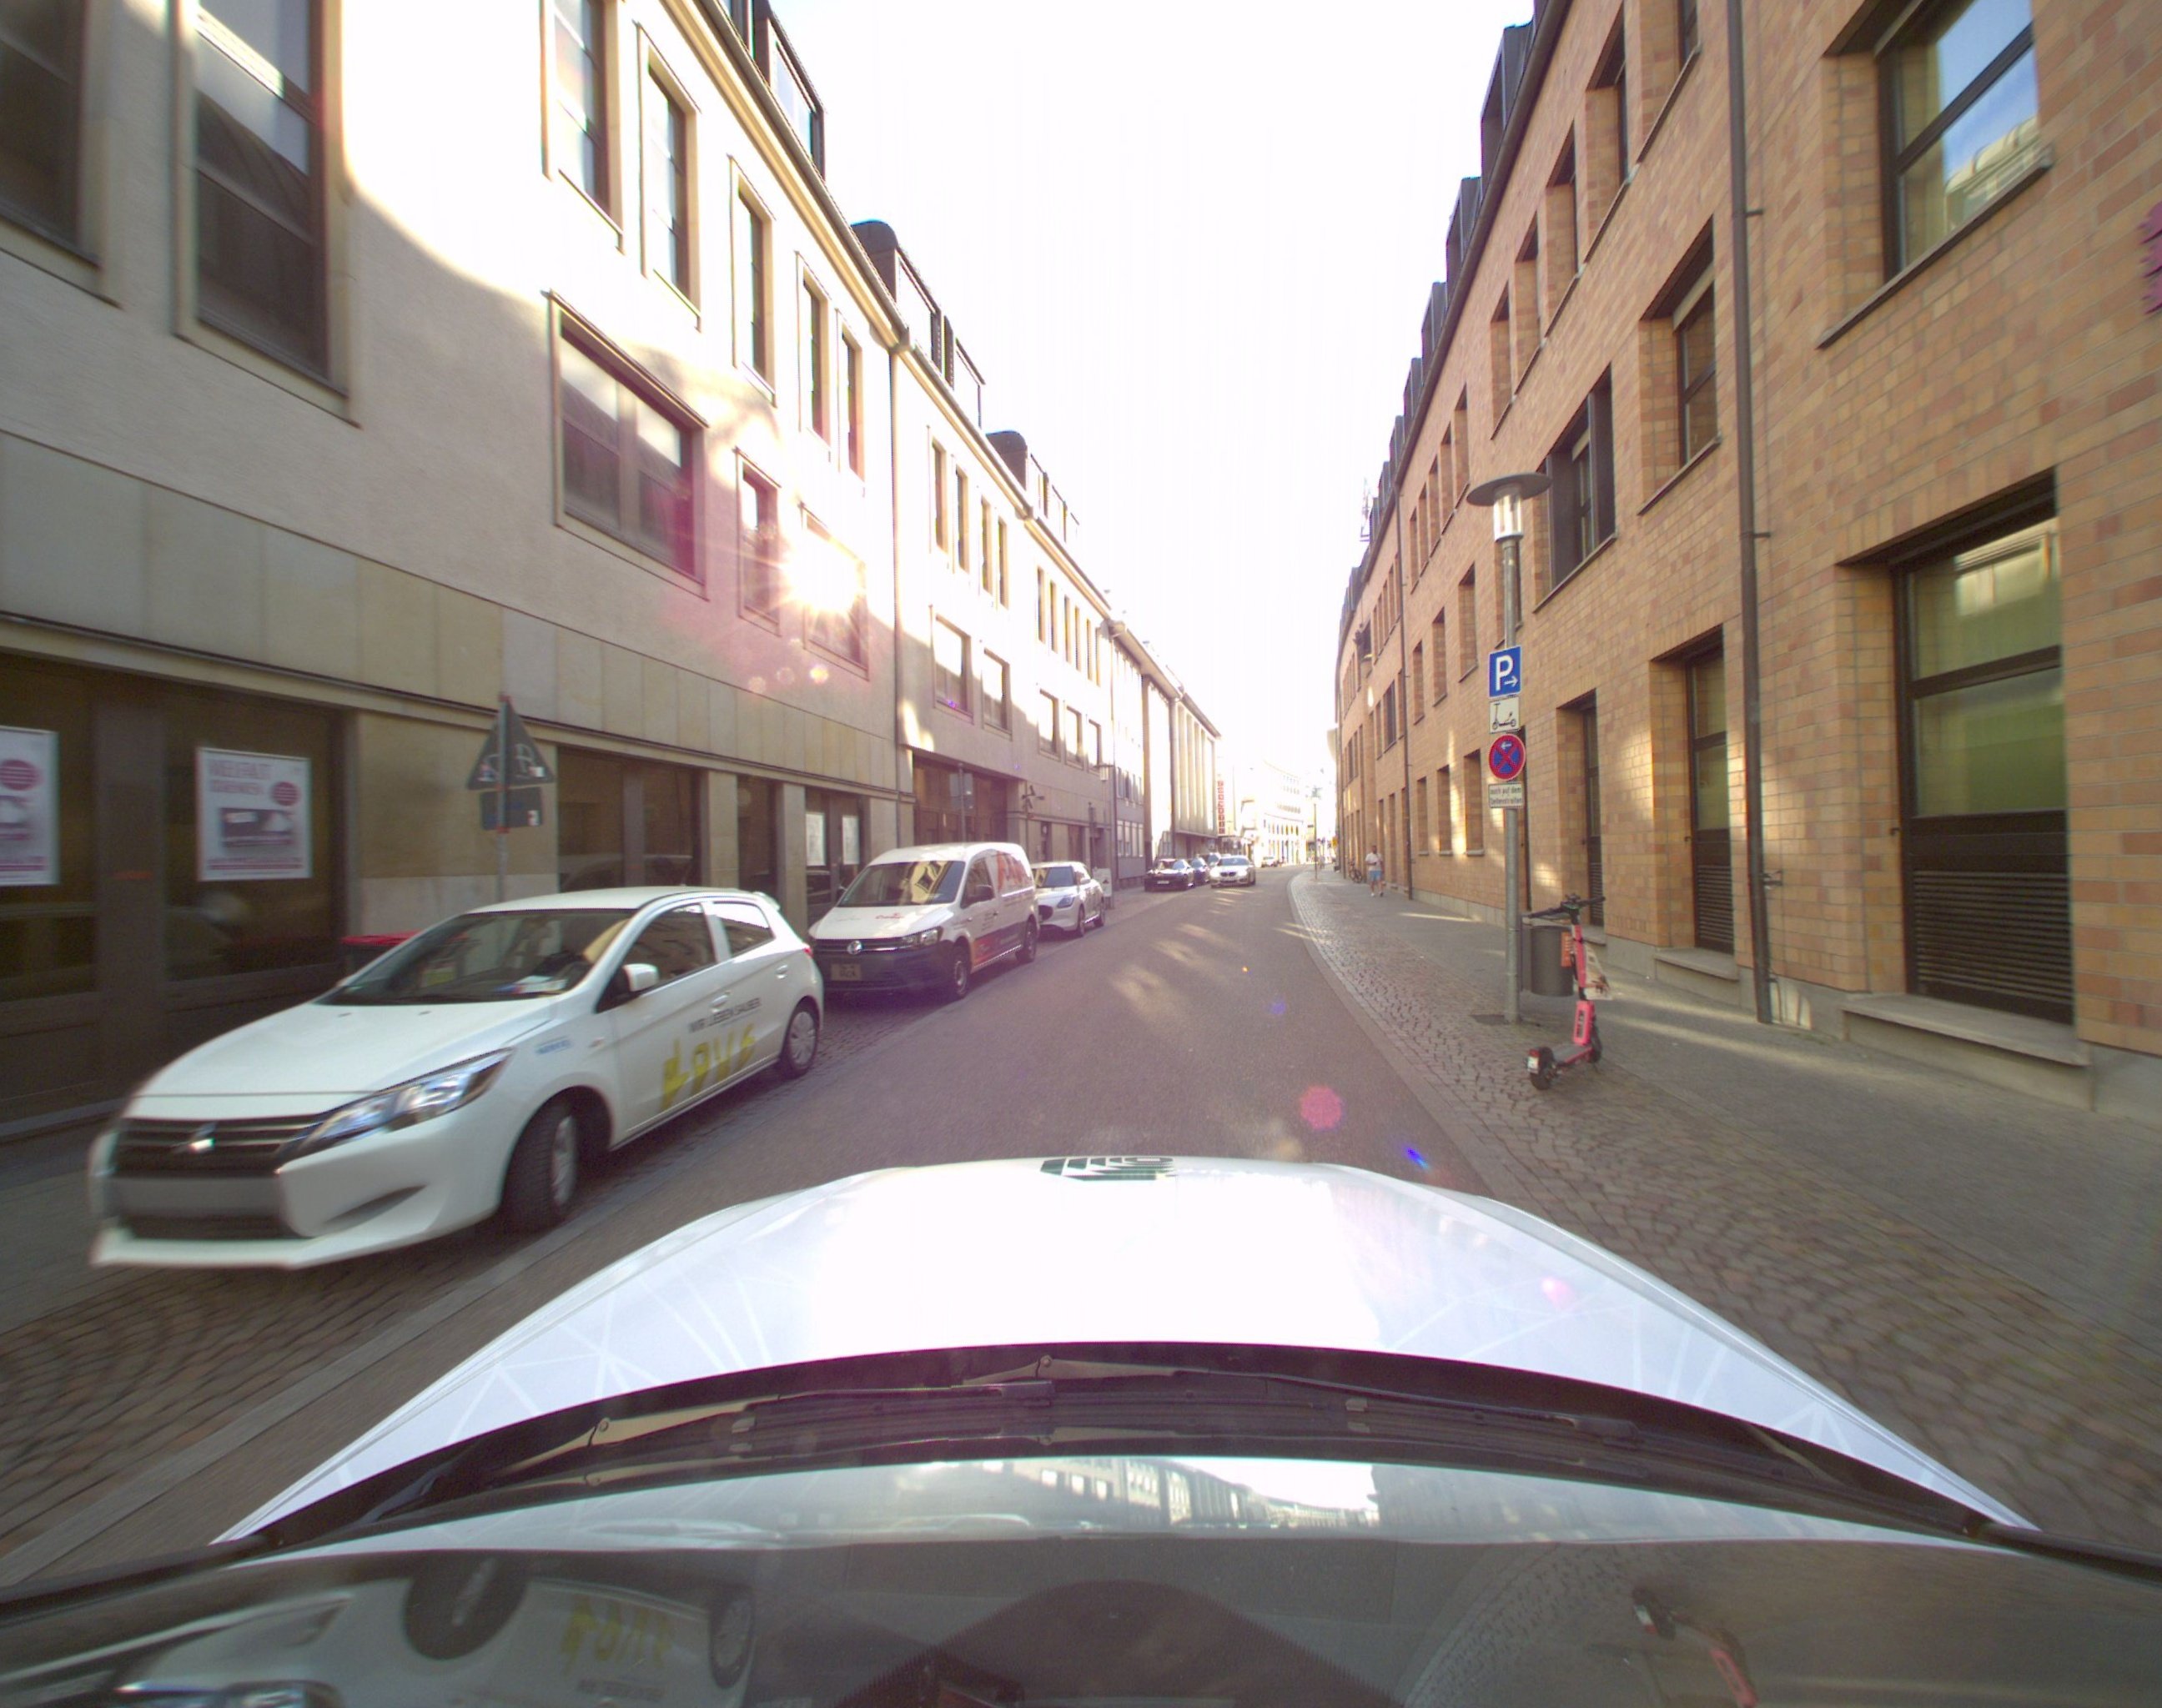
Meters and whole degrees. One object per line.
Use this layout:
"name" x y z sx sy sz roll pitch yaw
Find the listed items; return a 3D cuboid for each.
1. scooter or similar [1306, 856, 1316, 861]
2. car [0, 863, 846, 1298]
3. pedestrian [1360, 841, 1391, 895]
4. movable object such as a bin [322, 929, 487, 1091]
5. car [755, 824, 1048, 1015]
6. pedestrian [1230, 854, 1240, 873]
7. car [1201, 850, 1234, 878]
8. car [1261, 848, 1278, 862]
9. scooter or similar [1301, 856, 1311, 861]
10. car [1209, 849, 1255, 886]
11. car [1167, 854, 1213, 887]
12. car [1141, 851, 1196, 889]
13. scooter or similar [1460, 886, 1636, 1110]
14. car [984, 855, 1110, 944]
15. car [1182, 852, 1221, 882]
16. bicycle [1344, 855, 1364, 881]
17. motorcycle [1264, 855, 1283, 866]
"scooter or similar" 40.616 0.764 143.763 2.240 0.928 0.520 -1 -1 -43
"car" -3.055 0.867 4.861 1.728 1.492 3.807 -4 -1 7
"pedestrian" 9.796 0.454 27.097 0.755 1.716 0.824 -4 -1 13
"movable object such as a bin" -5.046 1.134 6.108 0.732 1.101 0.592 0 -1 7
"car" -1.971 0.696 10.696 1.887 1.857 4.748 -4 -1 11
"pedestrian" 13.542 0.862 71.655 0.648 1.625 0.453 -2 -1 -25
"car" 9.452 0.645 56.078 1.877 1.742 4.406 -3 -1 13
"car" 23.200 0.109 100.219 1.723 1.606 3.549 -2 0 17
"scooter or similar" 38.719 0.770 140.094 2.240 0.928 0.520 -1 -1 -43
"car" 7.070 0.596 37.874 1.702 1.517 4.176 -3 -1 14
"car" 5.791 0.827 42.937 1.877 1.530 4.355 -3 -1 13
"car" 4.088 0.692 37.314 1.877 1.530 4.746 -3 -1 13
"scooter or similar" 3.145 0.871 5.438 1.426 1.235 0.532 -2 0 -40
"car" -0.579 0.853 16.914 1.659 1.522 3.787 -5 -1 11
"car" 7.377 0.761 49.394 1.877 1.676 4.570 -3 -1 13
"bicycle" 12.455 0.636 37.197 0.546 1.103 1.988 -6 -1 11
"motorcycle" 26.215 0.864 110.827 2.372 1.317 0.866 -4 -1 16
